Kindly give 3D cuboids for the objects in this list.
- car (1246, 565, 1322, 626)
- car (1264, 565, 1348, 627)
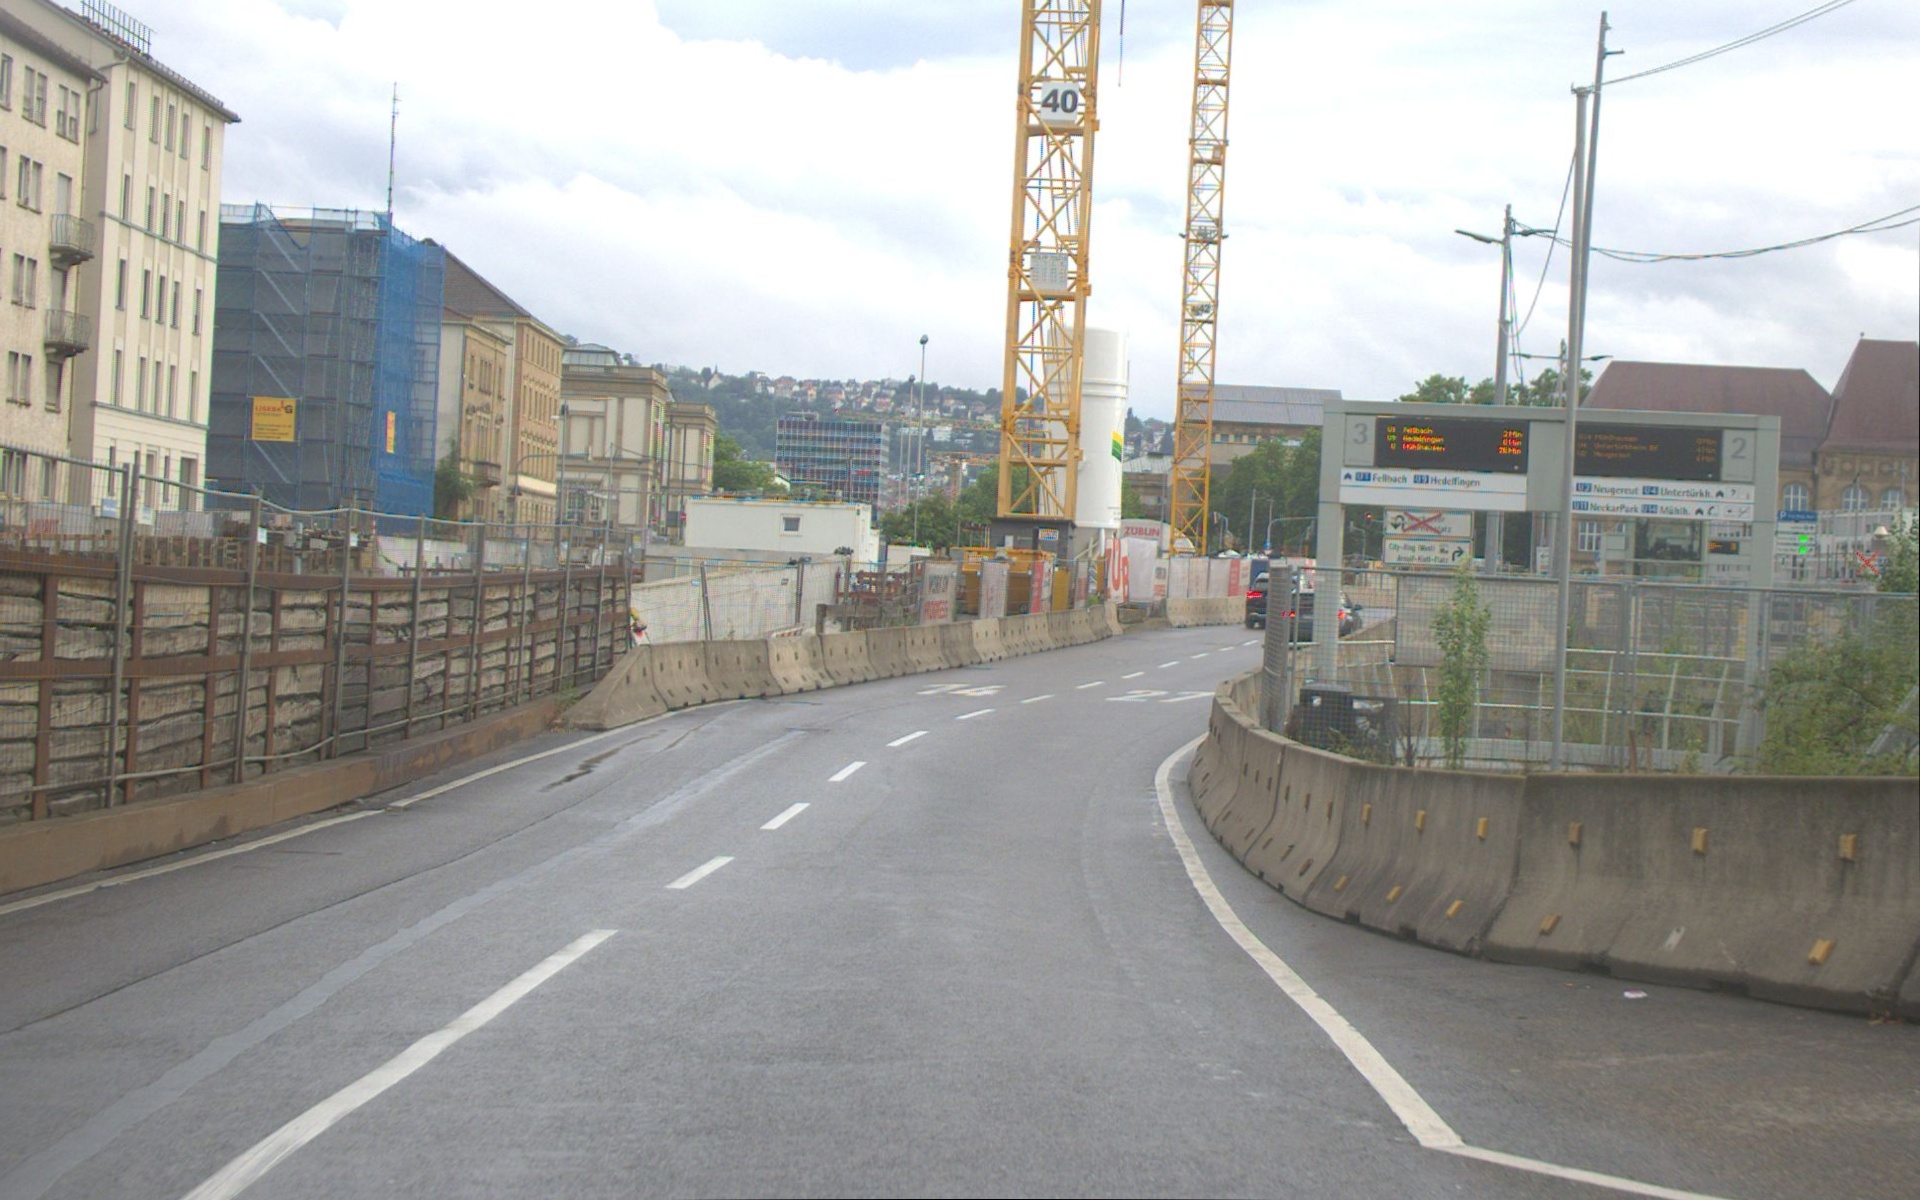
[{"bbox_3d":[9.717,-0.162,102.860,1.863,1.655,4.654,3,1,9],"label":"car"},{"bbox_3d":[8.418,-0.102,83.401,1.863,1.428,4.655,1,0,7],"label":"car"}]
